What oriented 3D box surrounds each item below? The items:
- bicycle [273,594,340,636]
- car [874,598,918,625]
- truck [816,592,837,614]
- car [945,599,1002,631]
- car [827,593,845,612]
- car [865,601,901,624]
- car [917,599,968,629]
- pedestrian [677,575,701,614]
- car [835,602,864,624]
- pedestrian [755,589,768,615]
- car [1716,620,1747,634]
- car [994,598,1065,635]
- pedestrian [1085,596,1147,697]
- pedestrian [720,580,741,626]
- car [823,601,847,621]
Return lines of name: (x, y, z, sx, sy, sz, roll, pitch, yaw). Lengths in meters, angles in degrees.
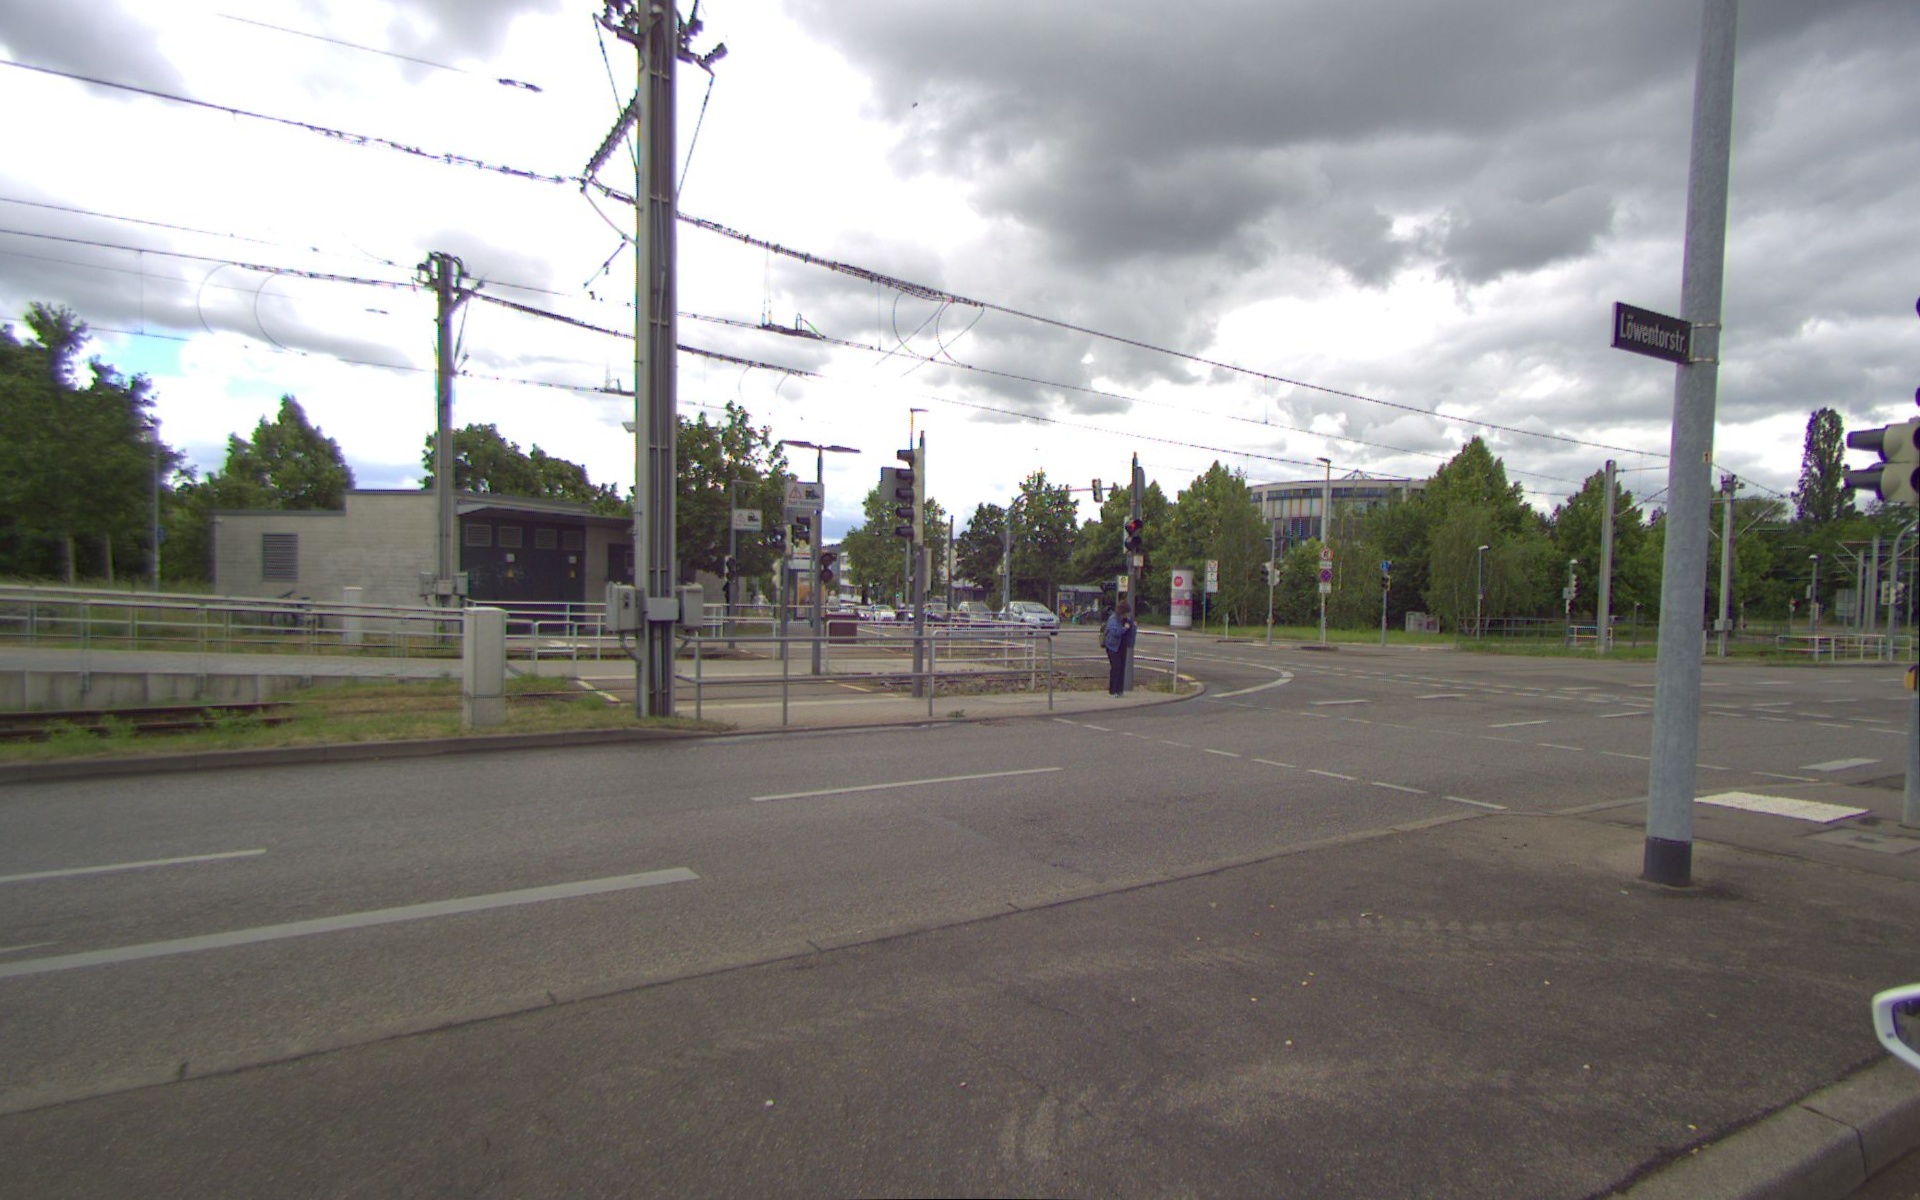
bicycle: (-17.373, 0.392, 26.704, 1.778, 1.045, 0.536, 2, 0, 21)
car: (-4.152, 0.696, 64.580, 1.776, 1.617, 3.982, 2, 0, -20)
truck: (-22.497, 0.435, 169.187, 2.962, 3.580, 9.266, 1, 0, -10)
car: (0.664, 0.793, 53.869, 1.776, 1.617, 3.982, 2, 0, -20)
car: (-14.616, 0.288, 118.113, 1.964, 2.218, 5.800, 1, 0, -9)
car: (-5.767, 0.924, 74.903, 1.775, 1.617, 3.985, 2, 0, -17)
car: (-1.066, 0.760, 58.043, 1.776, 1.617, 3.982, 2, 0, -20)
pedestrian: (-9.874, -0.206, 36.595, 0.590, 1.377, 0.616, 2, 0, 18)
car: (-9.577, 1.065, 86.841, 1.869, 1.805, 3.988, 1, 0, -14)
pedestrian: (-11.998, 0.142, 60.743, 0.633, 1.557, 0.521, 2, 0, -2)
car: (105.392, 3.634, 137.250, 1.839, 1.815, 4.002, 2, 0, 12)
car: (3.194, 0.732, 46.903, 1.848, 1.617, 3.982, 2, 0, -20)
pedestrian: (2.491, 0.729, 16.061, 0.712, 1.557, 0.630, 2, 0, -33)
pedestrian: (-8.809, 0.119, 38.528, 0.700, 1.751, 0.674, 2, 0, -19)
car: (-11.743, 1.036, 94.258, 1.869, 1.805, 3.990, 1, 0, -13)
